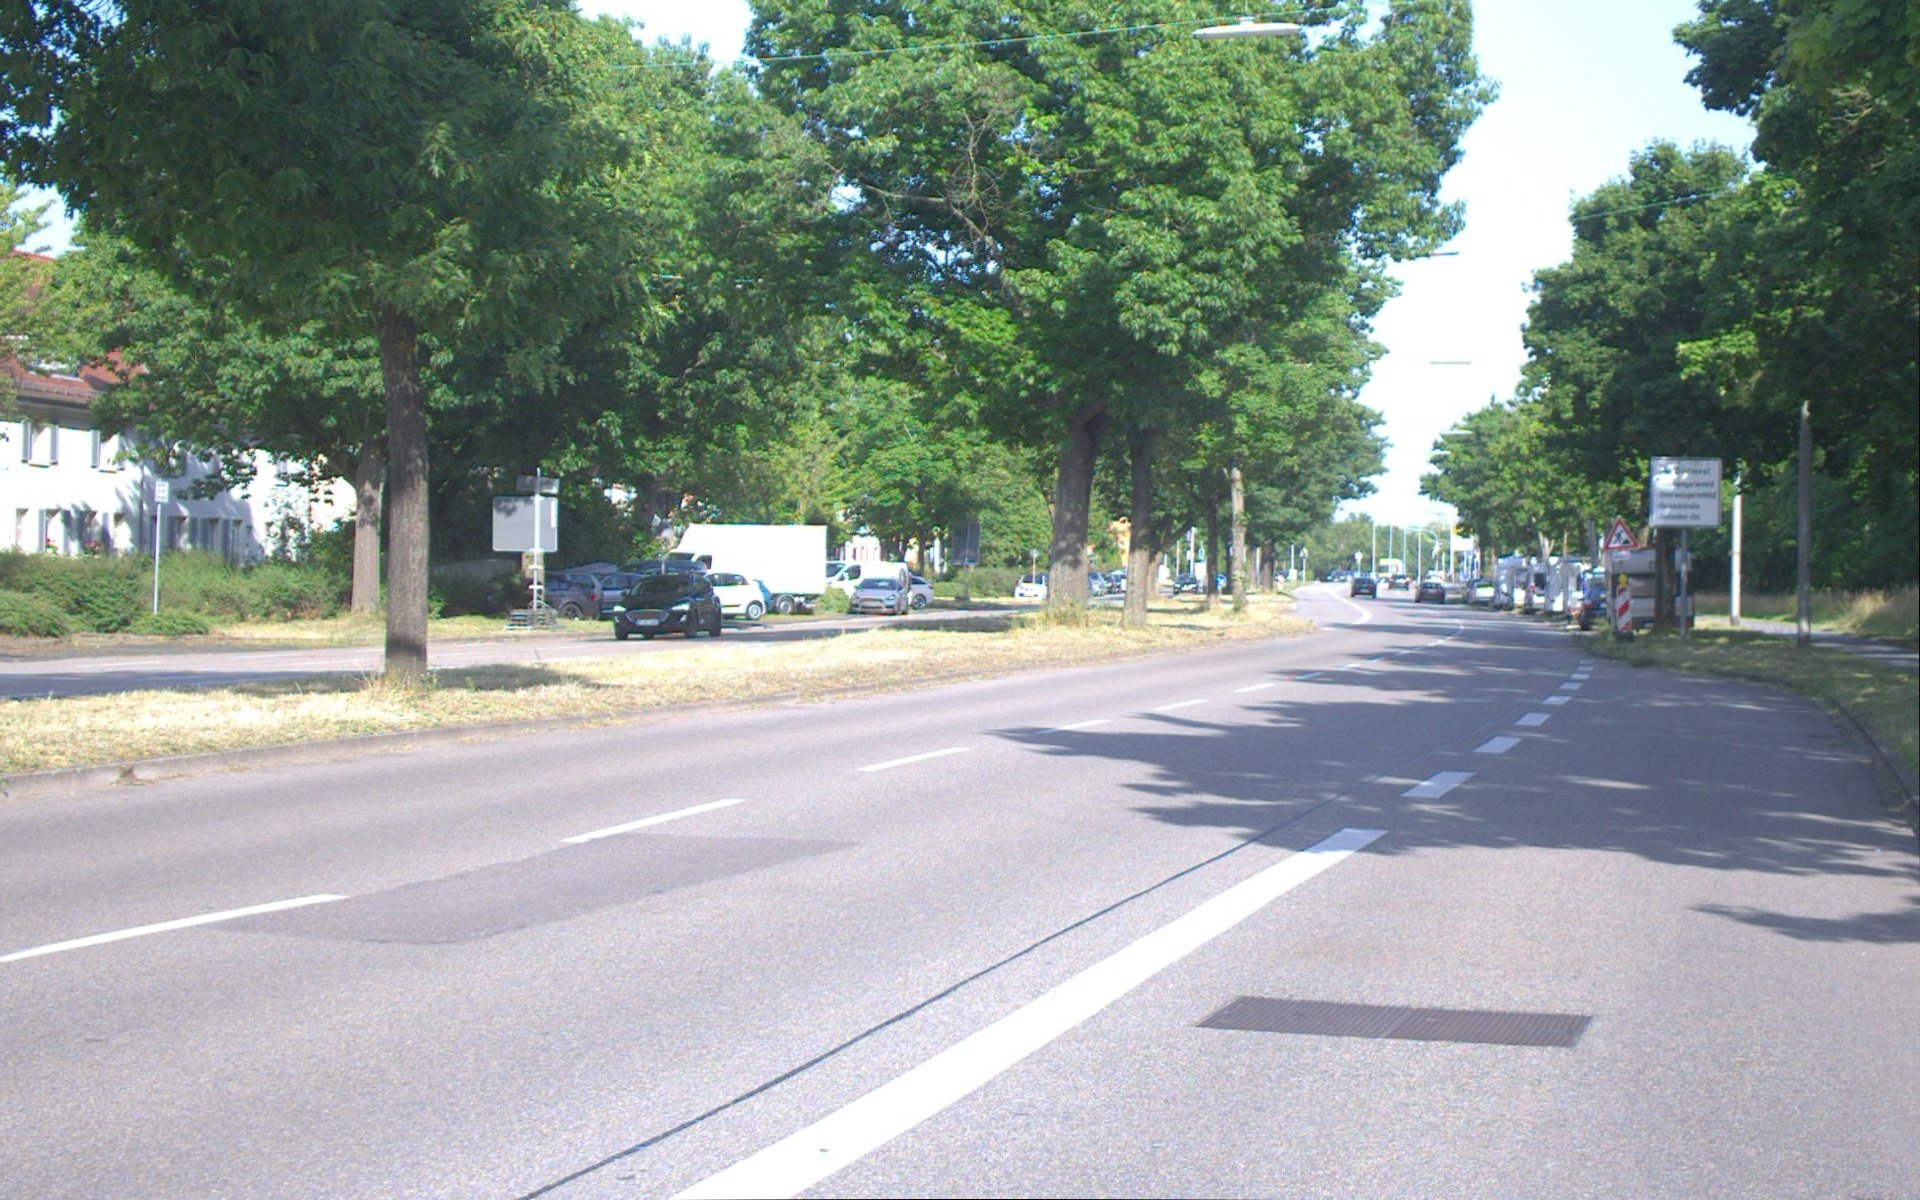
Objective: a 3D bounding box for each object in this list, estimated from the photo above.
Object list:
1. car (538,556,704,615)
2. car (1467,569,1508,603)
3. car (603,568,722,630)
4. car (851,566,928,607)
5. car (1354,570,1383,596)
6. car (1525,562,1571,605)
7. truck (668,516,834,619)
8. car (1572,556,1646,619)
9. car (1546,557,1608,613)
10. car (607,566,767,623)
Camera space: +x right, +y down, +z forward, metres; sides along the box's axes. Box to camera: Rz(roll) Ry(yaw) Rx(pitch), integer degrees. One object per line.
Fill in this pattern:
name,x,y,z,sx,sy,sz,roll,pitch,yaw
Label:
car,-10.129,-0.428,102.787,4.525,1.717,2.000,0,0,-30
car,31.399,-0.837,204.713,1.994,2.007,4.000,0,0,3
car,-6.669,-0.042,77.520,1.711,1.349,3.998,1,0,10
car,-2.616,-0.492,128.551,1.912,1.446,4.277,0,-1,12
car,28.871,-1.179,243.160,1.812,1.700,3.999,0,-1,3
car,27.873,-0.783,163.111,1.994,2.007,3.999,0,0,7
truck,-7.139,-1.107,117.834,5.488,3.453,2.000,0,0,-37
car,21.084,-0.410,111.820,1.994,2.007,4.131,0,0,6
car,22.564,-0.554,125.796,1.994,2.007,4.094,0,0,7
car,-8.492,-0.168,107.078,4.525,1.717,2.000,0,0,-30
